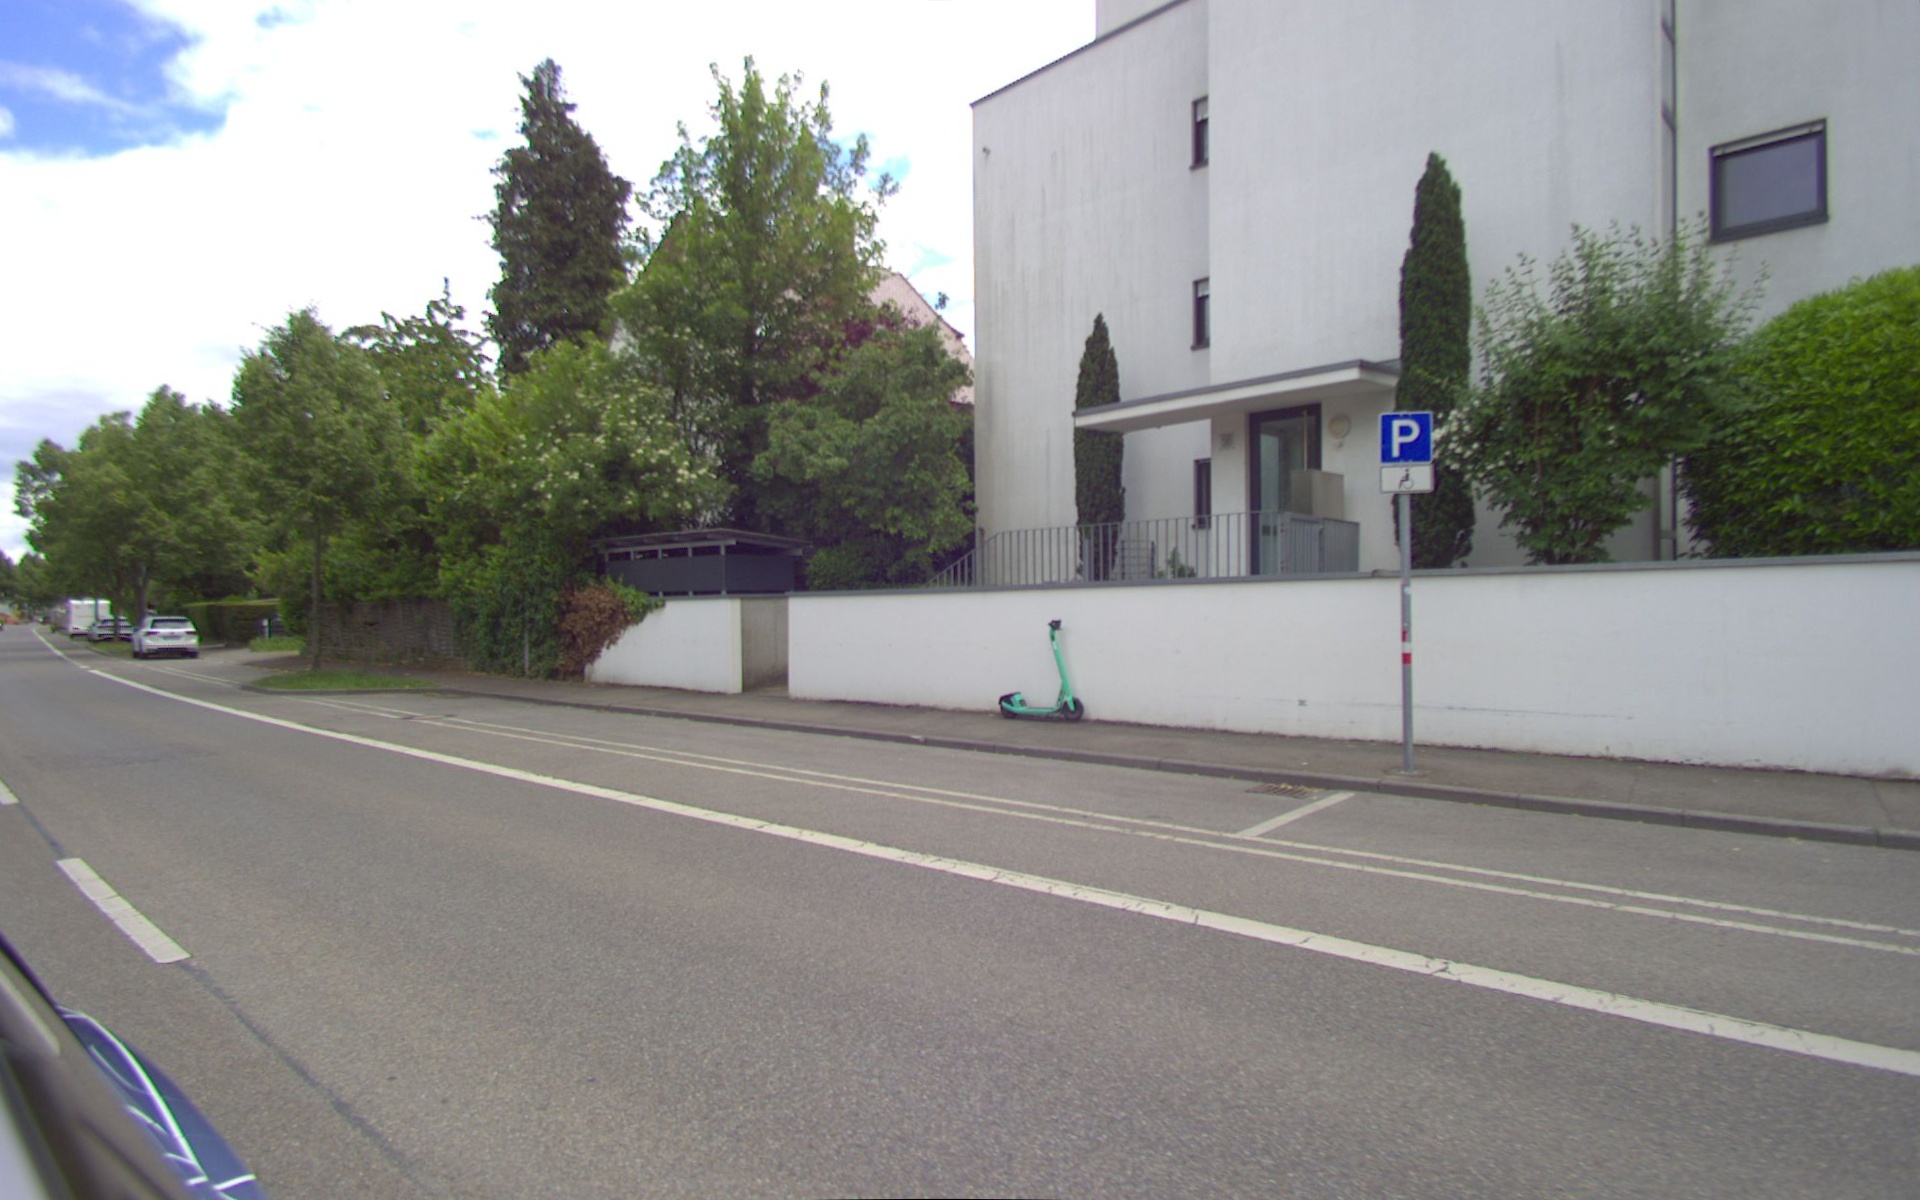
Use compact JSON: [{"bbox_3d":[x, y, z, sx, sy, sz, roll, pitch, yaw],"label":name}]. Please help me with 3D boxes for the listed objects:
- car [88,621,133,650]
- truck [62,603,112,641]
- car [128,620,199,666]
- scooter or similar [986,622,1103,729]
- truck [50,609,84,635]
[{"bbox_3d":[-50.396,2.088,60.011,1.862,1.628,4.004,0,-1,-43],"label":"car"},{"bbox_3d":[-68.035,1.691,78.807,2.604,2.794,6.261,-1,0,-44],"label":"truck"},{"bbox_3d":[-31.610,1.664,40.126,1.889,1.665,4.004,0,-1,-43],"label":"car"},{"bbox_3d":[0.982,0.867,11.957,1.326,1.174,0.429,-2,2,41],"label":"scooter or similar"},{"bbox_3d":[-92.472,2.291,104.771,4.495,2.564,1.974,-1,0,40],"label":"truck"}]
